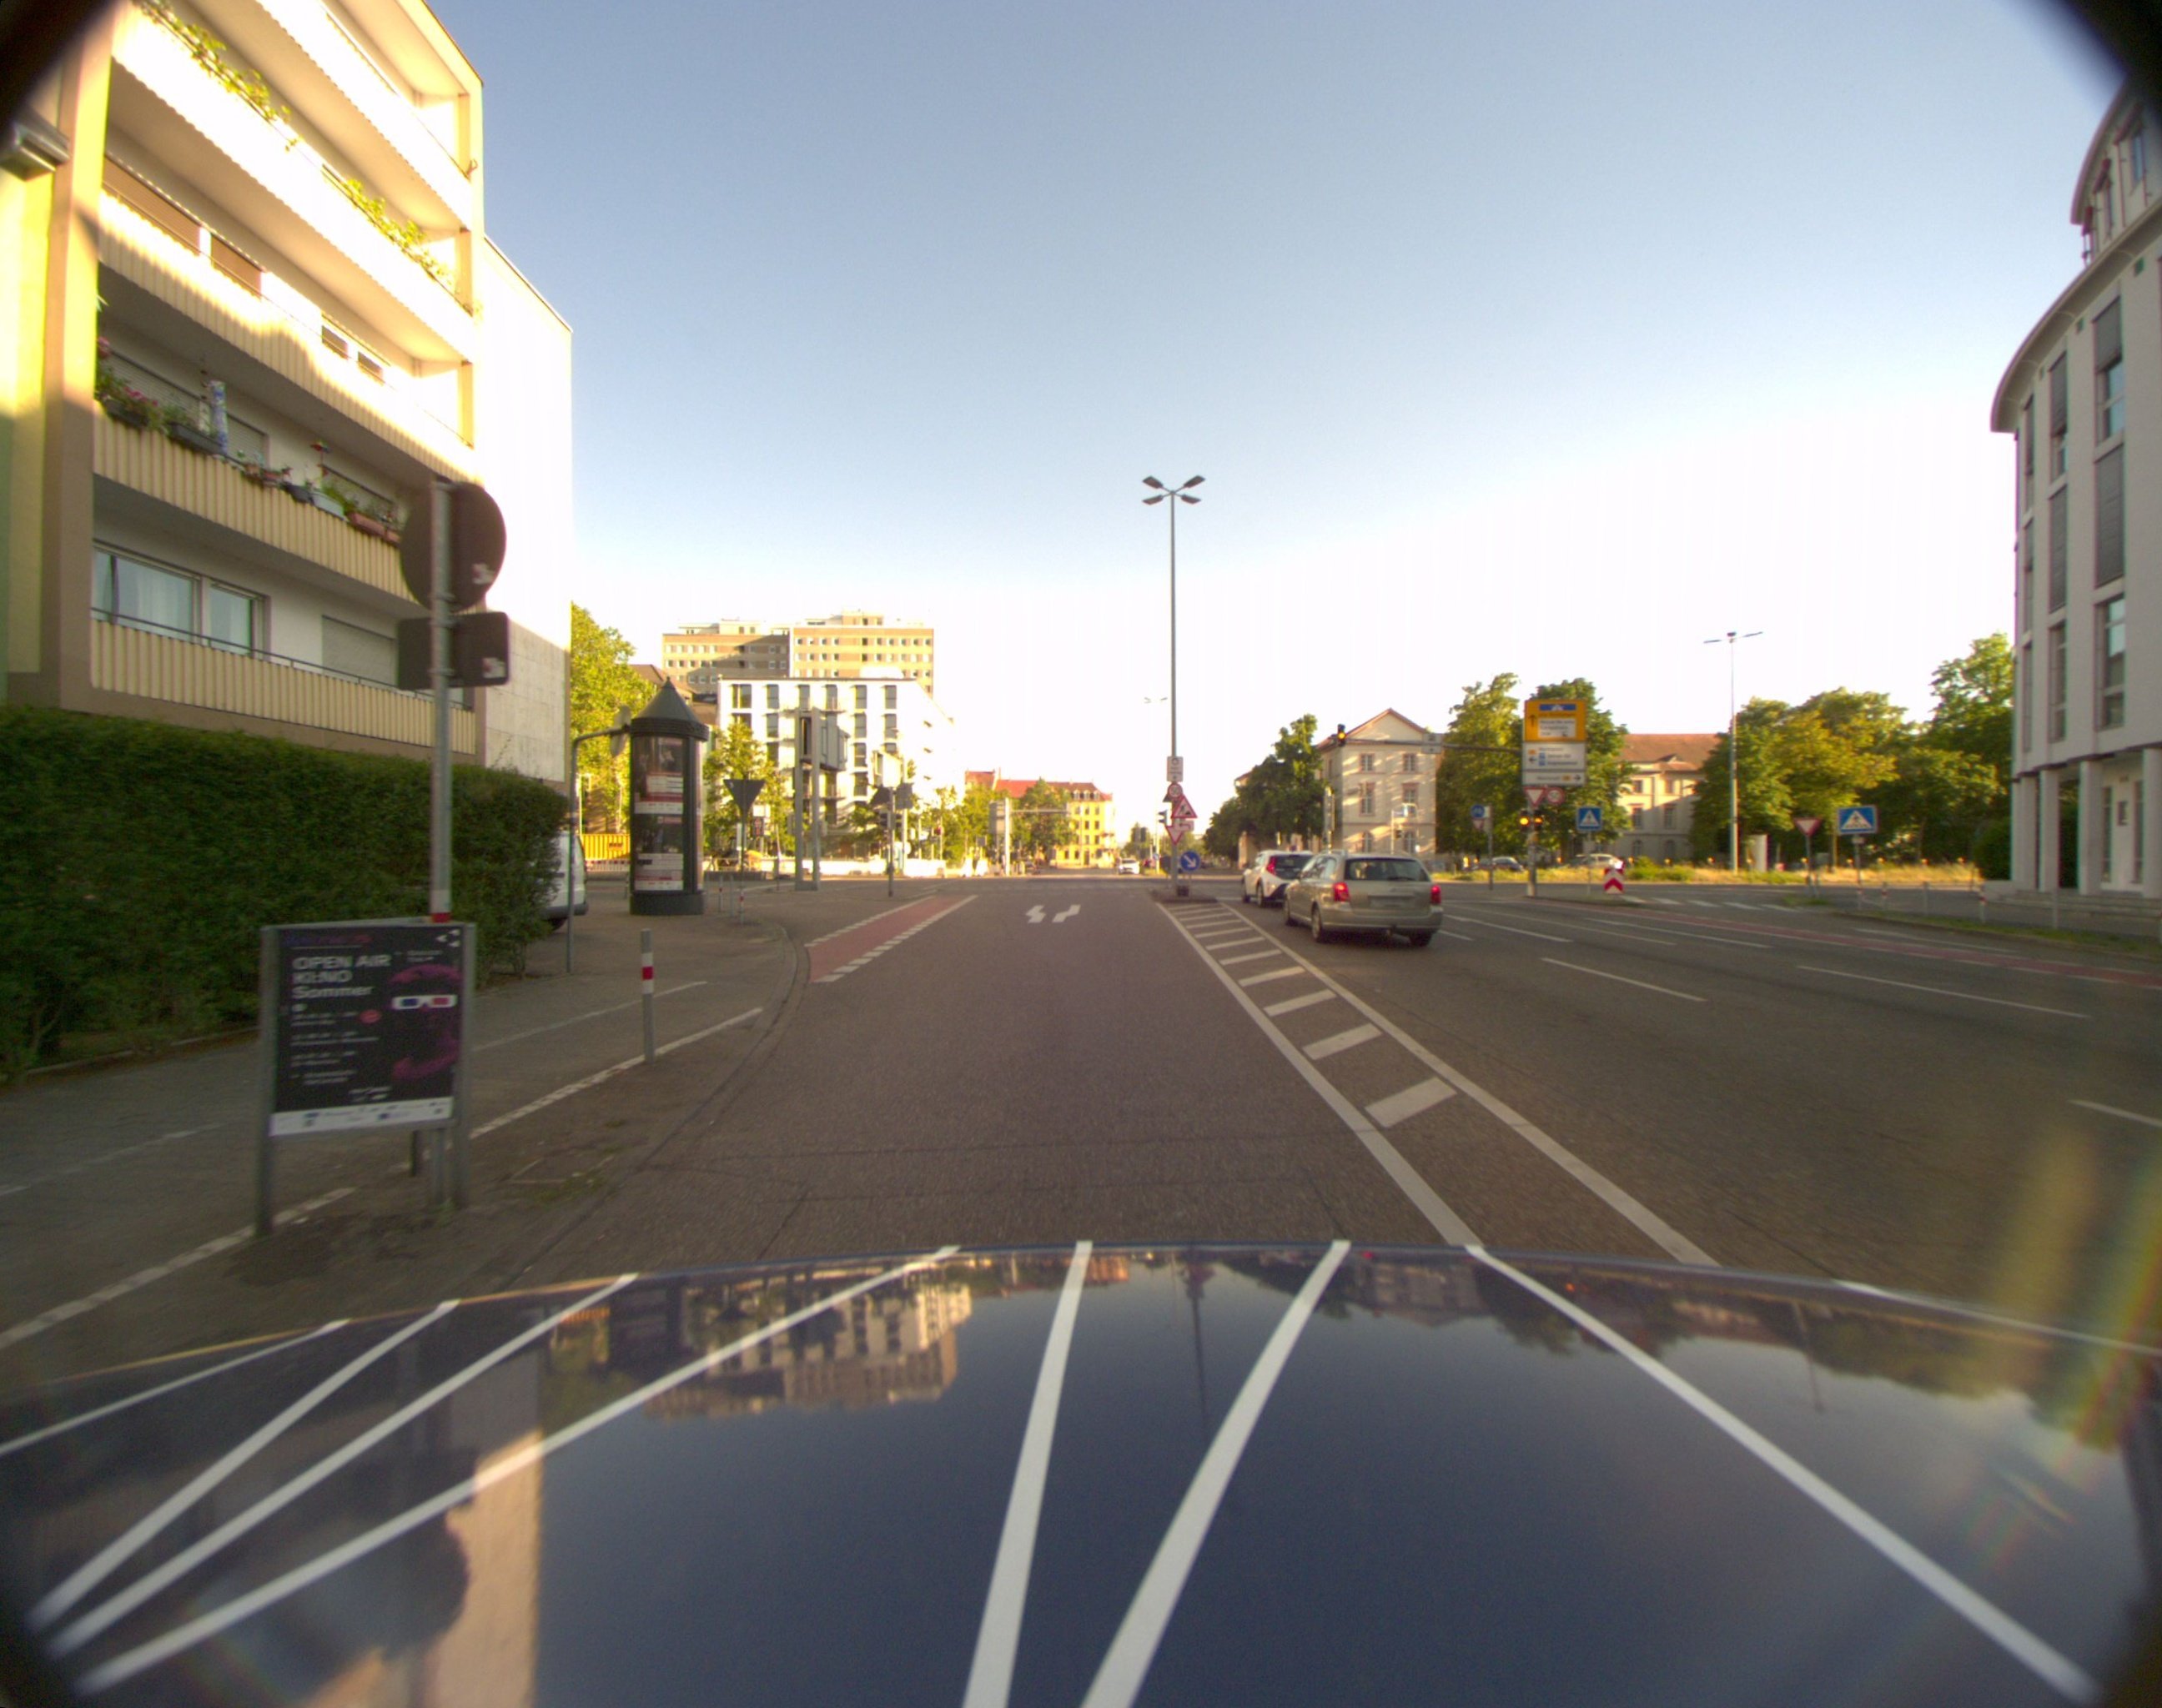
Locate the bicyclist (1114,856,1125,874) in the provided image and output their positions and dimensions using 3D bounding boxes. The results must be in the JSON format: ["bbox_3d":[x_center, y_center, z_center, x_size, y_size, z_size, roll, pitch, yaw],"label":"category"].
[{"bbox_3d":[3.287,0.944,65.120,0.838,1.594,1.023,0,0,1],"label":"bicyclist"}]

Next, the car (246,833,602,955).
[{"bbox_3d":[-10.395,0.596,12.277,4.098,1.803,1.861,0,0,0],"label":"car"}]

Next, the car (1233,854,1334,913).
[{"bbox_3d":[5.346,0.728,20.571,1.832,1.452,3.903,0,0,2],"label":"car"}]

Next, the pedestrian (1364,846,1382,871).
[{"bbox_3d":[22.468,0.343,58.490,0.820,1.838,1.169,0,0,-6],"label":"pedestrian"}]

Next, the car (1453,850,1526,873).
[{"bbox_3d":[26.329,0.468,49.060,3.645,1.437,2.000,0,0,-2],"label":"car"}]

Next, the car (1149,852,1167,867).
[{"bbox_3d":[9.653,0.691,95.928,1.832,1.836,4.947,0,0,1],"label":"car"}]

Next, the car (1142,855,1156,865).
[{"bbox_3d":[10.110,0.840,113.286,1.764,1.454,4.293,0,0,1],"label":"car"}]

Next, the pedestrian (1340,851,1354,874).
[{"bbox_3d":[19.342,0.638,55.275,0.621,1.641,0.889,0,0,-6],"label":"pedestrian"}]

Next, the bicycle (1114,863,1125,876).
[{"bbox_3d":[3.293,1.301,65.162,0.833,1.101,2.081,0,0,1],"label":"bicycle"}]

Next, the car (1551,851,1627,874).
[{"bbox_3d":[33.151,0.536,49.657,3.645,1.437,2.000,0,0,-2],"label":"car"}]

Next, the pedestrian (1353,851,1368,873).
[{"bbox_3d":[21.530,0.617,58.526,0.678,1.698,1.084,0,0,-6],"label":"pedestrian"}]

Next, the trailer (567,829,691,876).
[{"bbox_3d":[-27.893,-0.097,47.098,6.127,2.851,2.541,0,0,-3],"label":"trailer"}]

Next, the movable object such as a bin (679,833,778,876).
[{"bbox_3d":[-21.806,0.036,47.106,5.211,2.578,2.000,0,0,1],"label":"movable object such as a bin"}]

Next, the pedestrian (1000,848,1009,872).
[{"bbox_3d":[-6.144,0.476,60.793,0.500,1.866,0.601,-1,0,-26],"label":"pedestrian"}]

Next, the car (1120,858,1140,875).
[{"bbox_3d":[4.425,1.104,69.418,1.764,1.490,3.709,0,0,3],"label":"car"}]

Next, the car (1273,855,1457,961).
[{"bbox_3d":[4.630,0.773,13.157,1.831,1.505,4.606,0,0,5],"label":"car"}]

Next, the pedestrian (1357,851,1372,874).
[{"bbox_3d":[20.617,0.613,55.218,0.678,1.641,0.883,0,0,-6],"label":"pedestrian"}]
